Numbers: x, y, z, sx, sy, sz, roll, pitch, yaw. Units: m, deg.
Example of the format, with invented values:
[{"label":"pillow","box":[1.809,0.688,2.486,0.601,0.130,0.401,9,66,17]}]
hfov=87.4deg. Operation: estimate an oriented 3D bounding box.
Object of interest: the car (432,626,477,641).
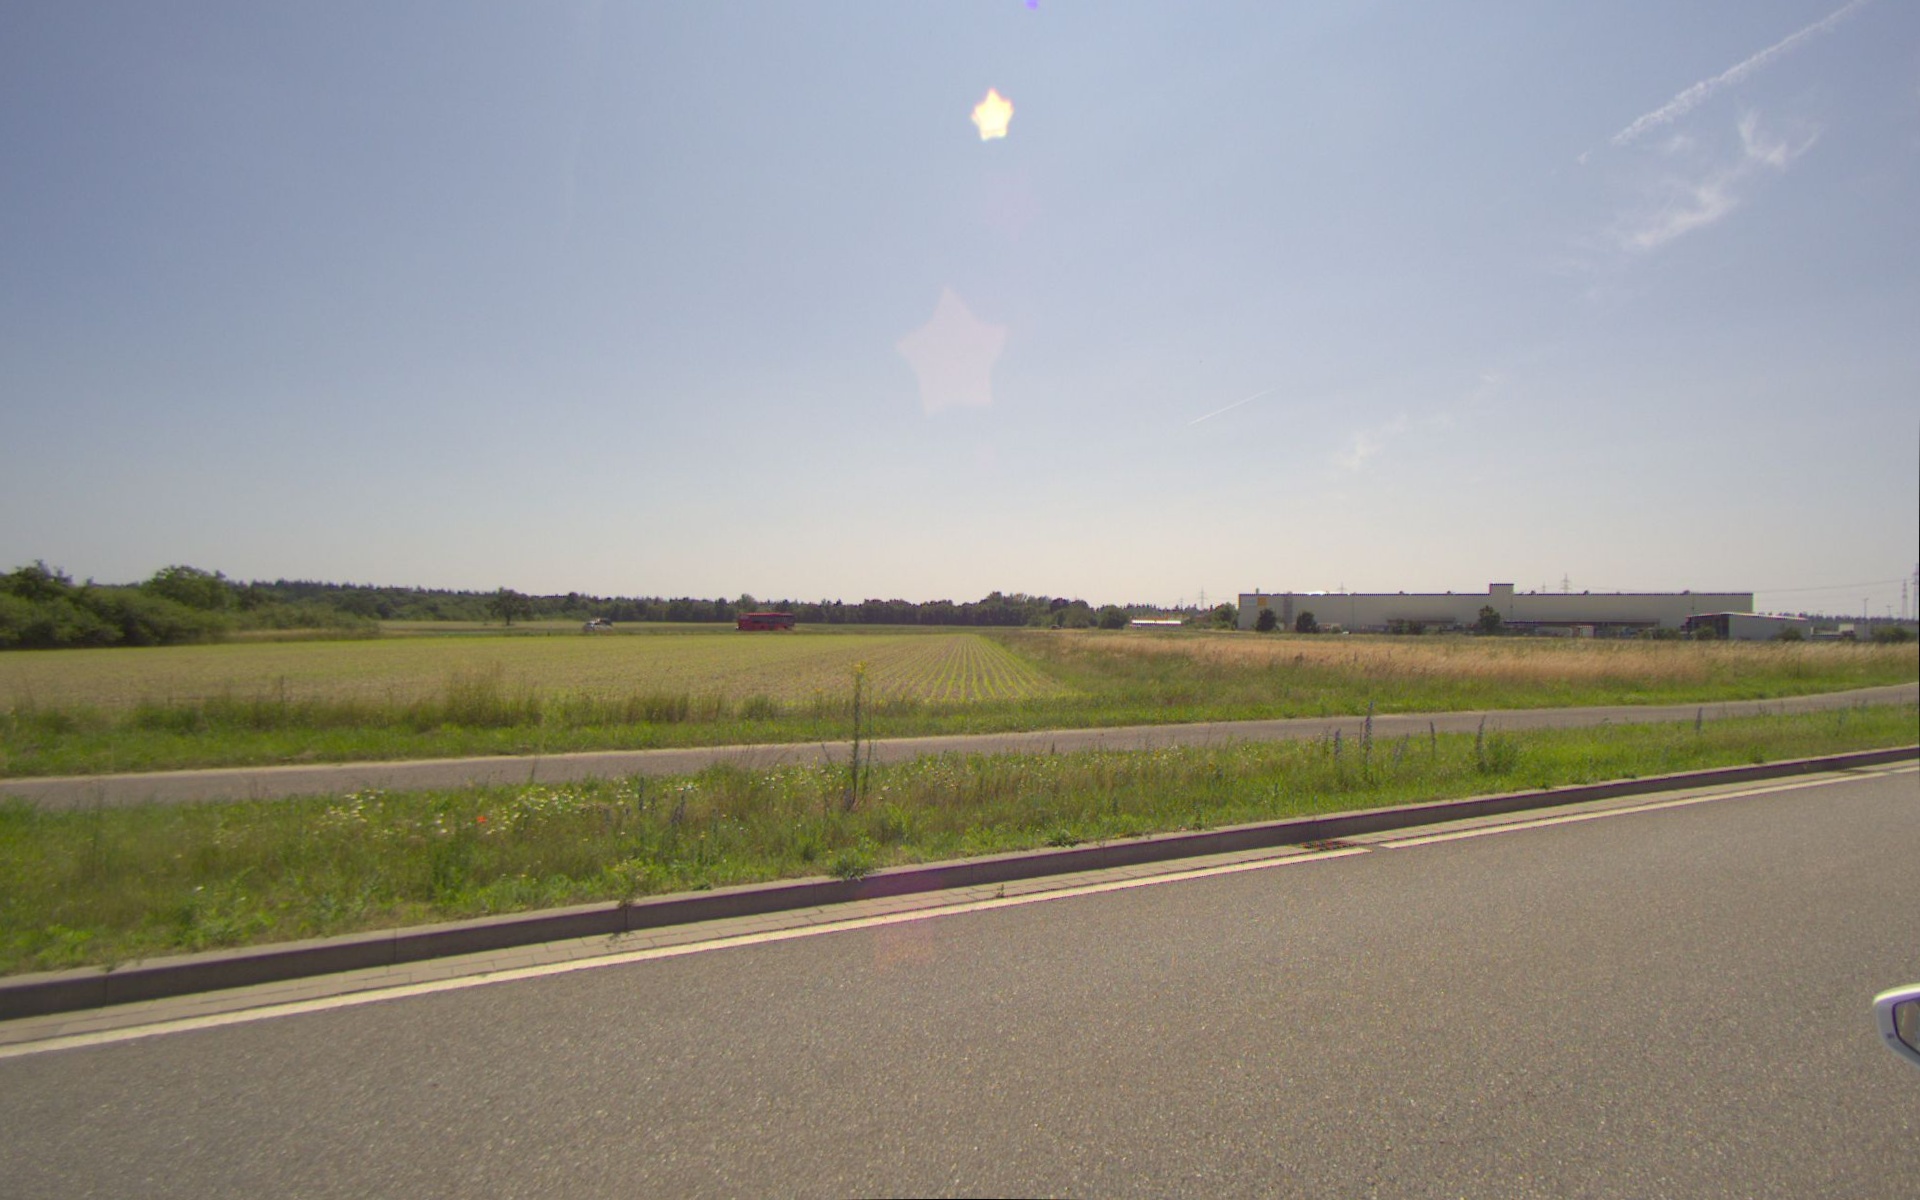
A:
[{"label":"car","box":[-56.865,3.816,113.080,1.771,1.650,4.197,-1,-2,32]}]

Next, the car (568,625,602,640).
[{"label":"car","box":[-49.297,4.272,132.127,1.963,2.040,3.995,0,-2,27]}]

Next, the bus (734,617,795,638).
[{"label":"bus","box":[-32.265,4.597,166.168,3.252,3.352,11.978,0,-2,26]}]
